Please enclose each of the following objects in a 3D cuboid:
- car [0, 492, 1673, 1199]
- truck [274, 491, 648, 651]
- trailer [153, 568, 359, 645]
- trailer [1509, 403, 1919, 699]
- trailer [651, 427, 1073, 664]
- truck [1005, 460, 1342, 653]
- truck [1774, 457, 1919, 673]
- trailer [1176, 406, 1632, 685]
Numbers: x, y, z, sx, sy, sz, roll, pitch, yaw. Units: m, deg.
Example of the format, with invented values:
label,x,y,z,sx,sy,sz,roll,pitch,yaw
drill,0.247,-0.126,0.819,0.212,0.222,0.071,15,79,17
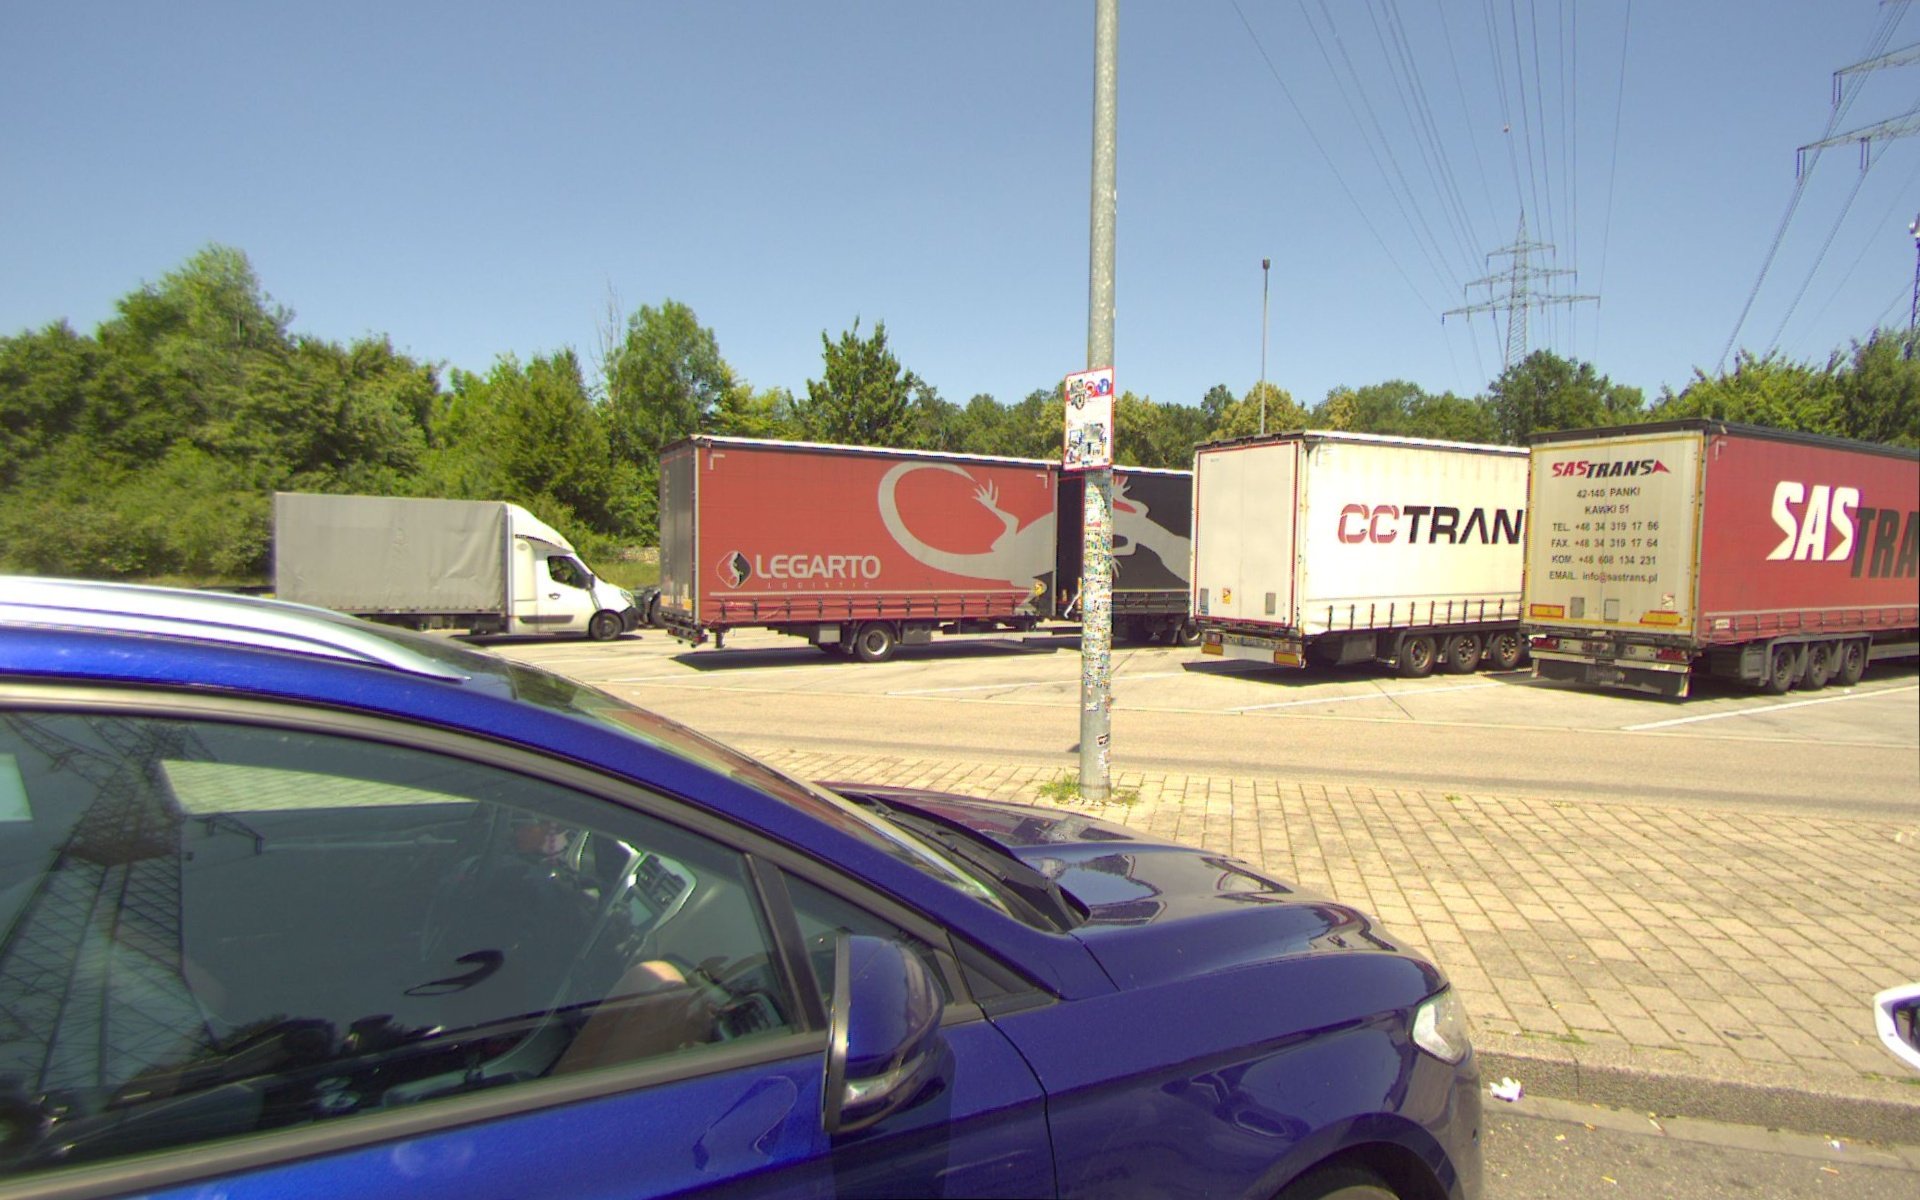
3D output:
label,x,y,z,sx,sy,sz,roll,pitch,yaw
car,-1.012,0.656,1.474,4.419,1.485,1.765,0,1,-32
truck,-11.064,-0.604,22.822,7.265,3.170,2.352,0,1,-30
trailer,-16.509,0.147,23.786,3.856,1.684,1.464,0,1,-30
trailer,15.299,-0.669,18.519,13.129,4.112,2.736,0,1,-31
trailer,-1.794,-0.917,20.319,8.158,4.027,2.651,0,1,-31
truck,5.398,-0.910,24.592,8.534,4.073,2.624,0,1,-30
truck,20.815,-0.673,21.782,6.749,4.136,2.729,0,1,-31
trailer,8.708,-0.829,19.117,9.614,4.321,2.733,0,1,-29
